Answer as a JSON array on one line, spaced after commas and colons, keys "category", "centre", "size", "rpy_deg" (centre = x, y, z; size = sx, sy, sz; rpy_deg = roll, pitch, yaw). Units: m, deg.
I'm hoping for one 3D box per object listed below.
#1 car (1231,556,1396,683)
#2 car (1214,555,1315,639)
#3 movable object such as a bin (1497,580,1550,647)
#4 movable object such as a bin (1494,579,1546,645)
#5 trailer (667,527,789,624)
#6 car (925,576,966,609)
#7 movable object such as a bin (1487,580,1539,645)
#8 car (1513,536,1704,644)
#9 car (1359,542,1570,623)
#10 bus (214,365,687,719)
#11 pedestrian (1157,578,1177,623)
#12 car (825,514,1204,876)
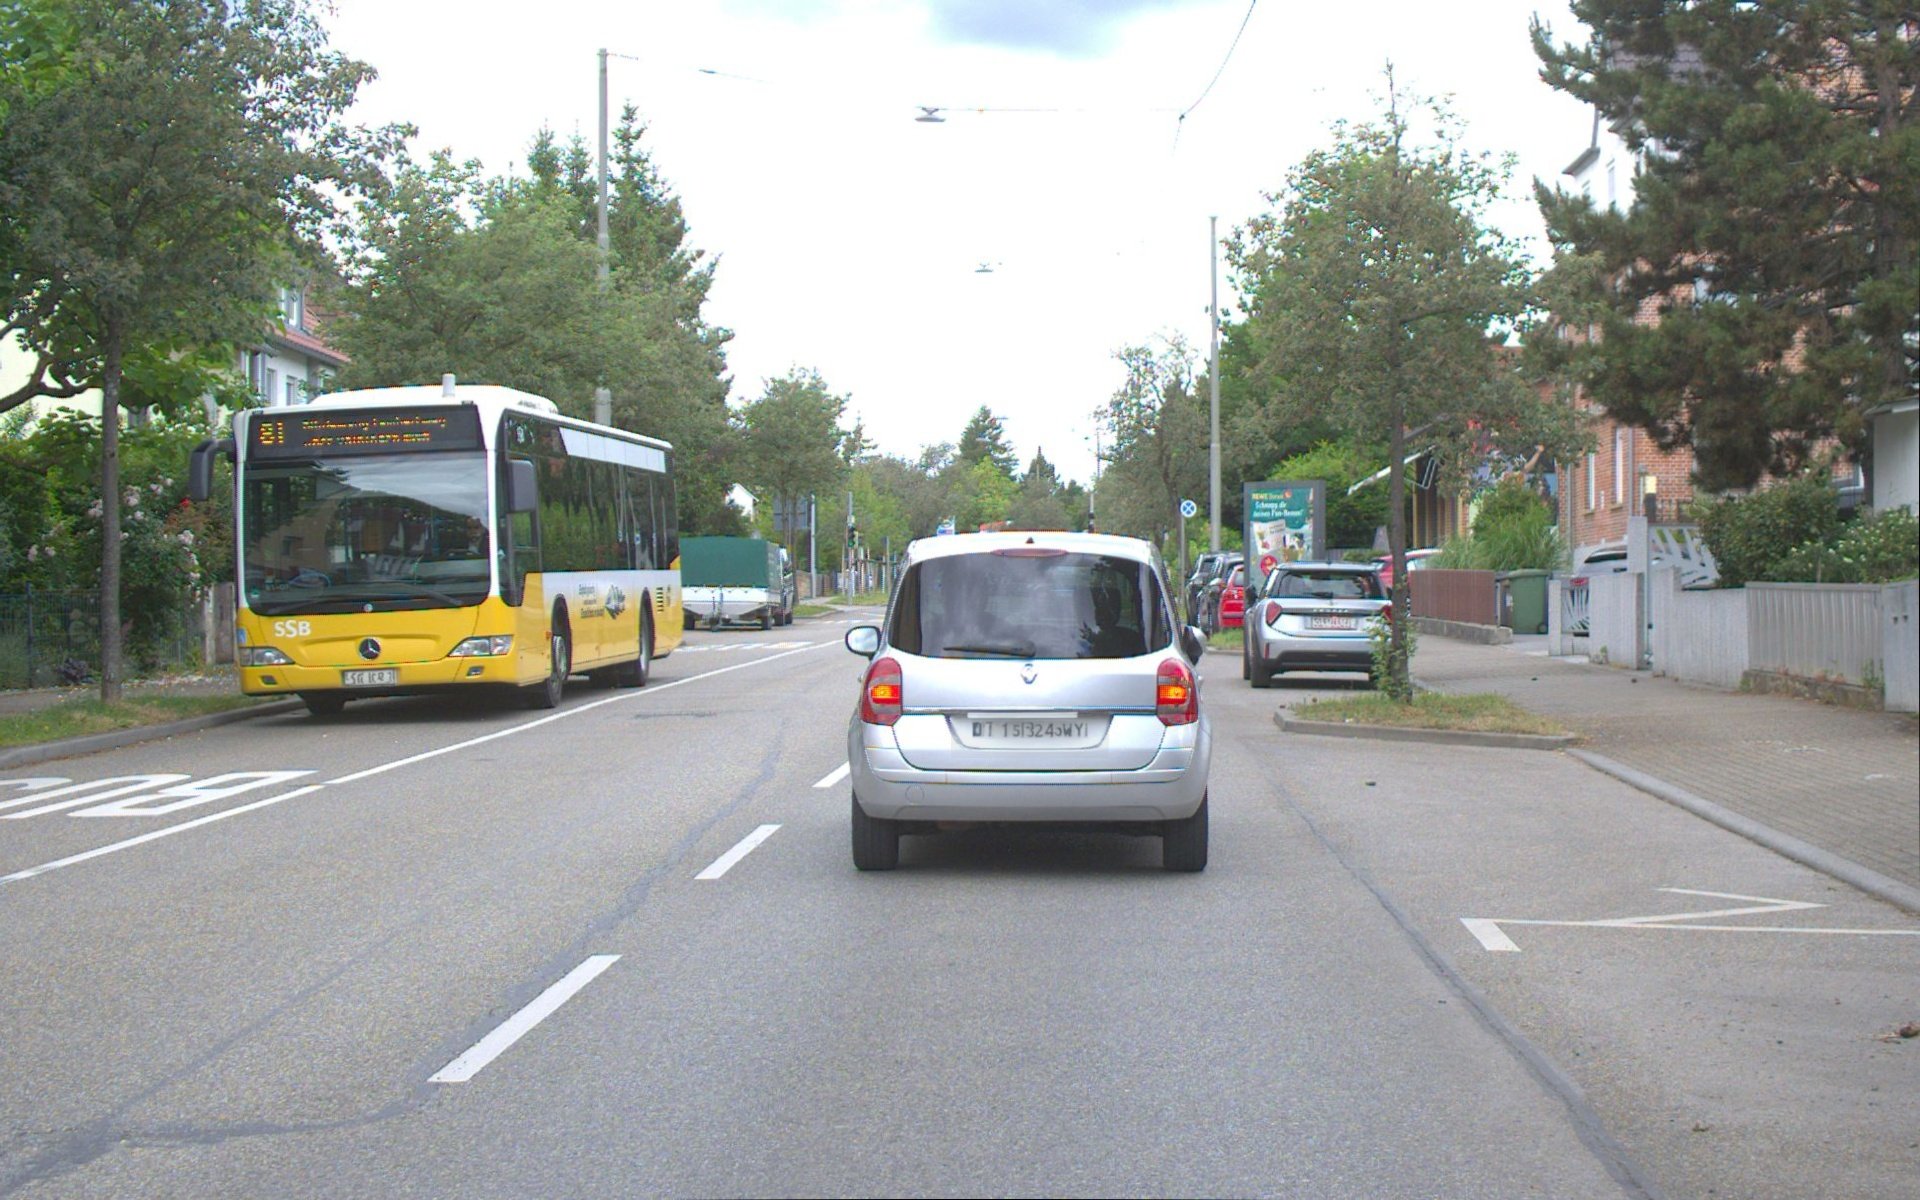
[{"category": "car", "centre": [4.052, 0.237, 39.878], "size": [1.650, 1.378, 3.999], "rpy_deg": [1, -1, 3]}, {"category": "car", "centre": [5.171, -0.062, 58.647], "size": [1.663, 1.388, 3.667], "rpy_deg": [0, 0, 4]}, {"category": "movable object such as a bin", "centre": [9.284, 0.224, 56.645], "size": [0.776, 1.100, 0.691], "rpy_deg": [0, 0, 1]}, {"category": "movable object such as a bin", "centre": [9.346, 0.196, 57.400], "size": [0.776, 1.100, 0.691], "rpy_deg": [0, 0, 1]}, {"category": "trailer", "centre": [-5.342, -0.539, 80.007], "size": [2.312, 2.080, 5.872], "rpy_deg": [2, -1, 1]}, {"category": "car", "centre": [-0.752, -0.376, 175.604], "size": [1.905, 1.612, 4.000], "rpy_deg": [1, -1, -3]}, {"category": "movable object such as a bin", "centre": [9.345, 0.205, 58.140], "size": [0.776, 1.100, 0.691], "rpy_deg": [0, 0, 1]}, {"category": "car", "centre": [10.088, -0.184, 53.249], "size": [1.821, 1.376, 4.474], "rpy_deg": [-3, 1, 25]}, {"category": "car", "centre": [10.565, -0.371, 72.149], "size": [3.986, 1.491, 1.810], "rpy_deg": [-3, 0, -6]}, {"category": "bus", "centre": [-4.976, -0.548, 36.357], "size": [2.632, 3.075, 12.068], "rpy_deg": [-1, 0, 3]}, {"category": "pedestrian", "centre": [7.685, 0.014, 127.606], "size": [0.705, 1.641, 0.773], "rpy_deg": [0, 0, 1]}, {"category": "car", "centre": [0.339, 0.442, 17.193], "size": [1.630, 1.551, 3.999], "rpy_deg": [2, -1, 3]}]
